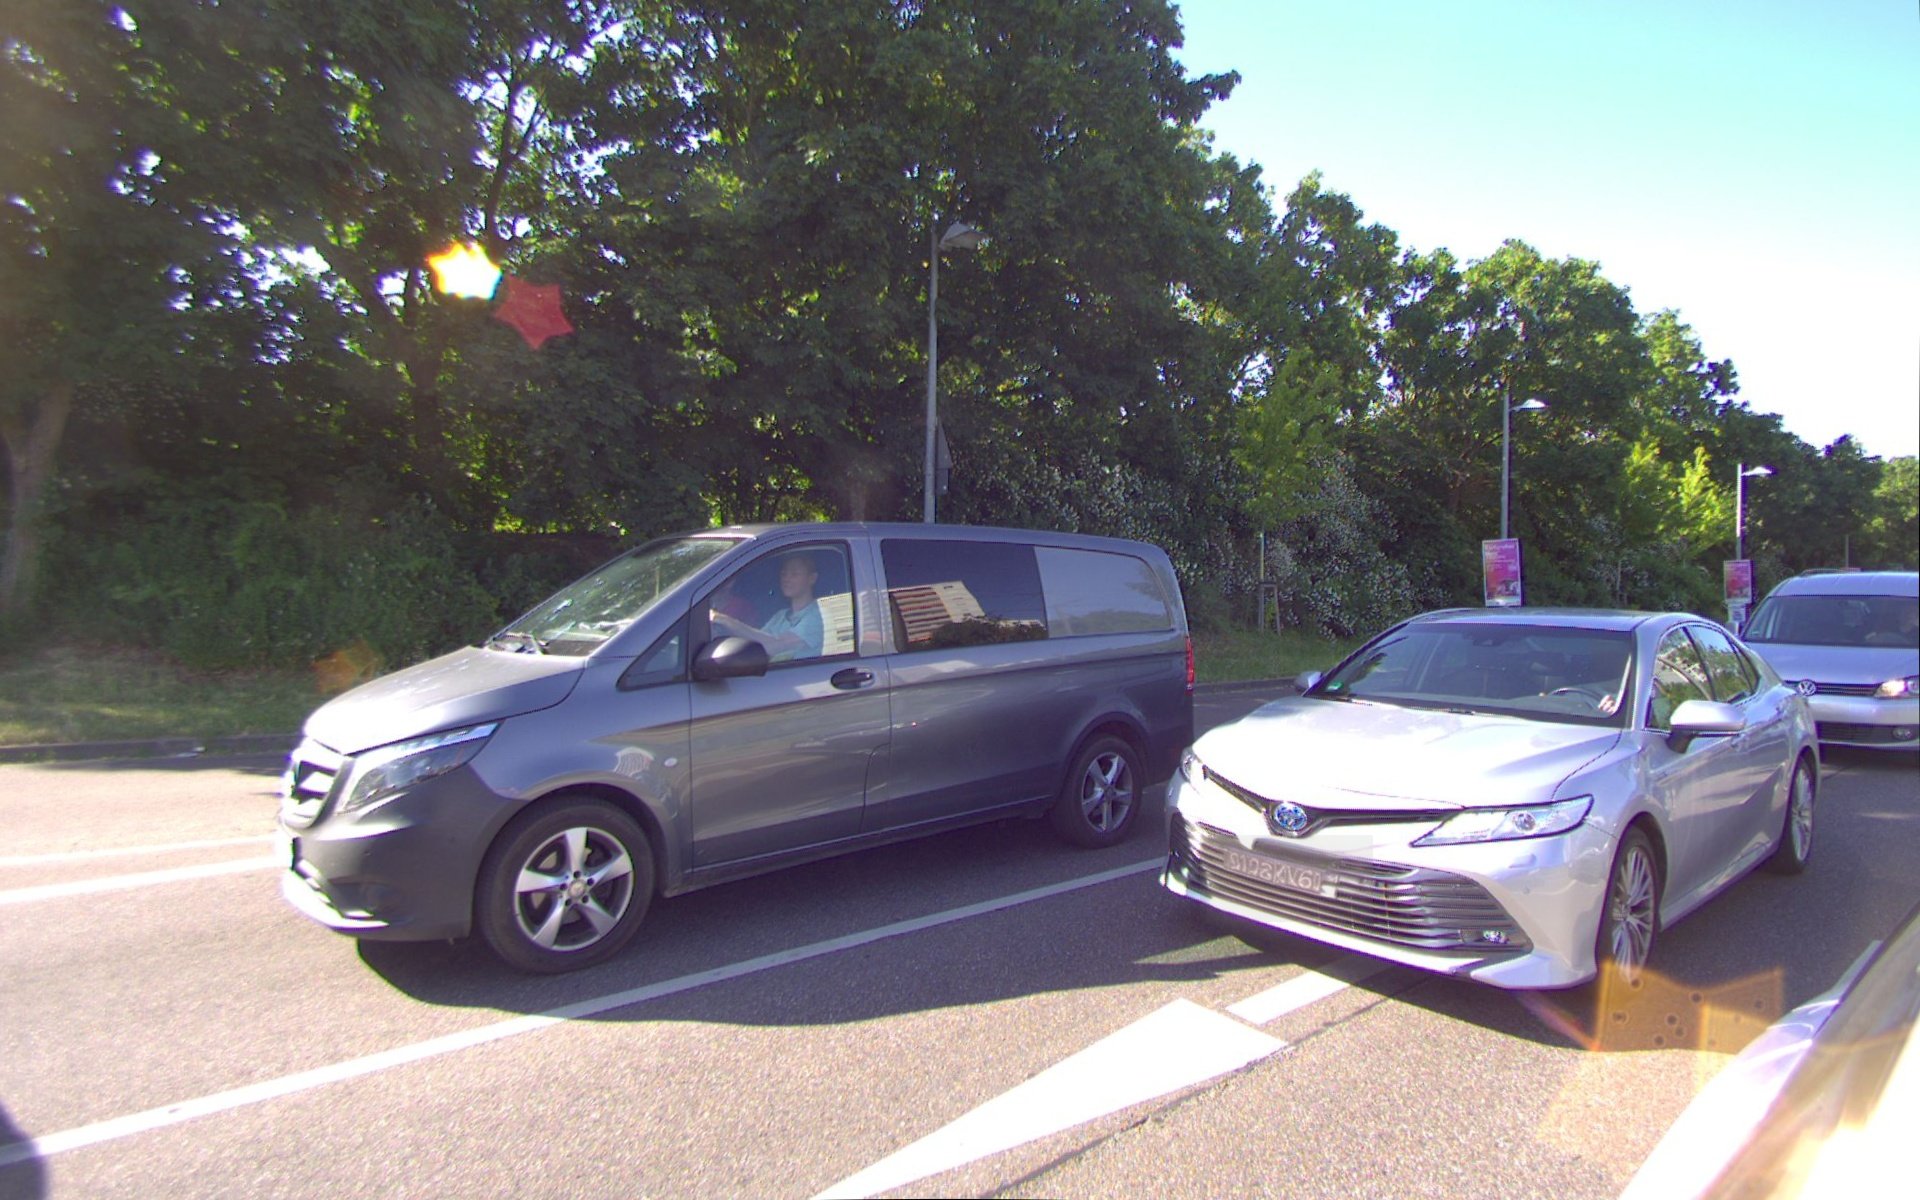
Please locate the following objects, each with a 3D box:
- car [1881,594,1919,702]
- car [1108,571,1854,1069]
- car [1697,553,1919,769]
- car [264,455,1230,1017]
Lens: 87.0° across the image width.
[{"bbox_3d":[14.997,0.679,14.924,4.126,1.472,1.715,0,1,-43],"label":"car"},{"bbox_3d":[2.989,0.666,5.256,4.599,1.512,1.808,0,0,-40],"label":"car"},{"bbox_3d":[9.505,0.487,10.556,4.504,1.844,1.809,-1,1,-39],"label":"car"},{"bbox_3d":[-0.782,0.425,5.662,5.011,1.875,1.809,0,2,-39],"label":"car"}]
